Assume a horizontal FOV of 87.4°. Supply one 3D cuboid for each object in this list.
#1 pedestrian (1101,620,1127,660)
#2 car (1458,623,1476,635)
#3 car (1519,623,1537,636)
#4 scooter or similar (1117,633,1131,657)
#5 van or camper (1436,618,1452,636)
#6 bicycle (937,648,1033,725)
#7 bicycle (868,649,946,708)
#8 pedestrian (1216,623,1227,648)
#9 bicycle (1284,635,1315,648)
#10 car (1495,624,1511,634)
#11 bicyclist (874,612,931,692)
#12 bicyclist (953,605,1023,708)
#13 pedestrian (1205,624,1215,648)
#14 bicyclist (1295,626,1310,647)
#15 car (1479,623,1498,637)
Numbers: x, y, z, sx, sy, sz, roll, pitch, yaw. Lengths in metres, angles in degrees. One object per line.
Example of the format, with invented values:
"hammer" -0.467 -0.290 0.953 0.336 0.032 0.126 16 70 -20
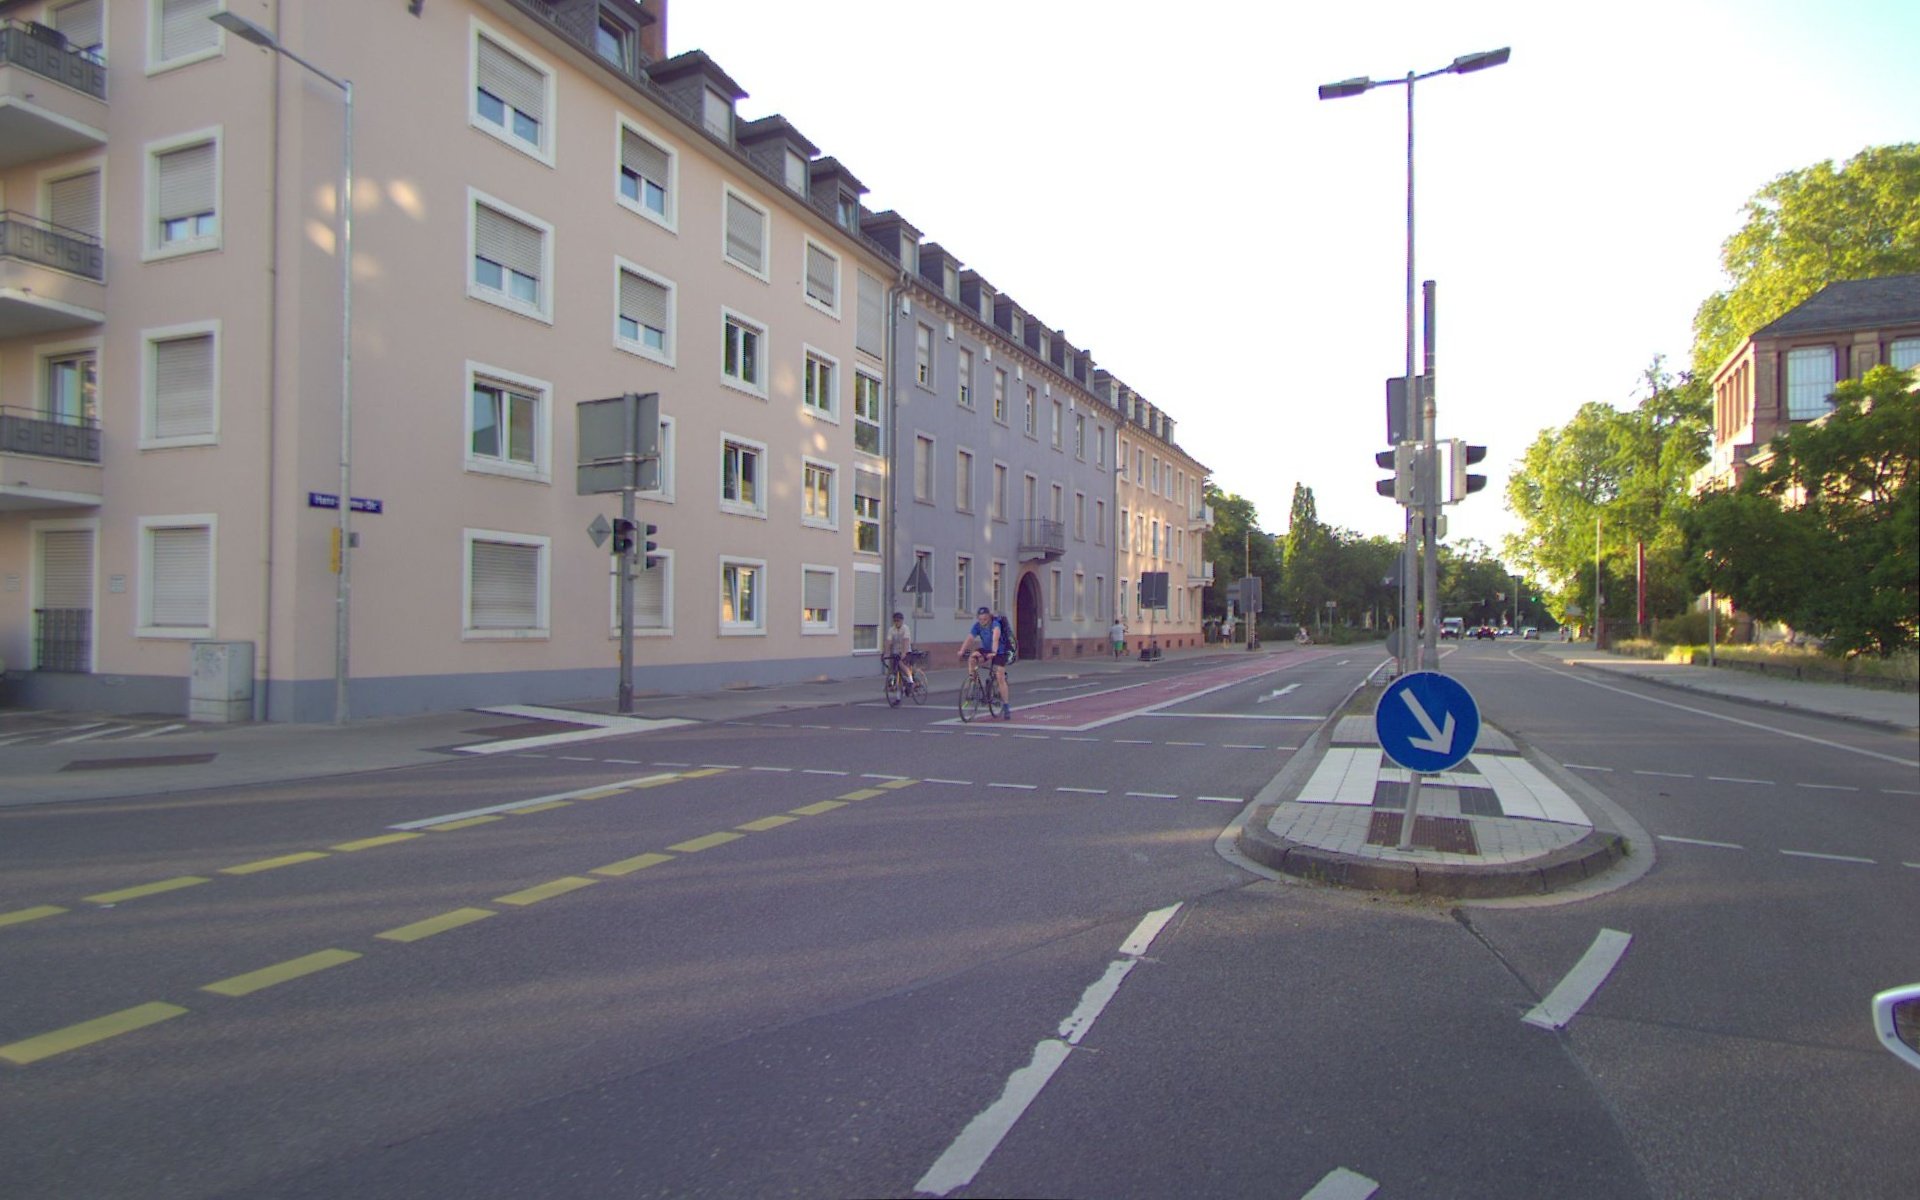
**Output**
"pedestrian" 6.584 1.719 42.818 0.861 1.674 0.809 0 -4 26
"car" 71.842 4.117 142.304 1.965 1.743 3.992 -1 -1 30
"car" 76.297 3.907 134.856 1.965 1.743 3.991 -1 -1 31
"scooter or similar" 7.817 2.149 47.875 0.390 1.143 0.860 -1 -1 31
"van or camper" 60.115 3.384 124.702 1.801 2.223 4.417 0 -1 26
"bicycle" 0.427 1.320 15.852 0.710 1.081 1.998 0 -1 28
"bicycle" -0.981 1.453 18.981 0.710 1.024 1.686 0 -1 28
"pedestrian" 16.981 2.294 65.174 0.605 1.595 0.724 0 -1 19
"bicycle" 25.679 3.149 75.988 2.156 0.941 0.771 0 -1 -13
"car" 89.977 4.816 166.419 1.966 1.743 3.990 -1 -2 32
"bicyclist" -1.071 0.957 18.802 0.700 1.459 0.893 0 -1 28
"bicyclist" 0.455 0.870 15.923 0.700 1.565 1.123 0 -1 28
"pedestrian" 16.304 2.325 65.479 0.605 1.554 0.690 0 -1 19
"bicyclist" 25.919 2.774 76.045 0.858 1.617 0.752 0 -1 -13
"car" 64.635 3.634 122.847 1.964 1.743 3.994 -1 -1 28
